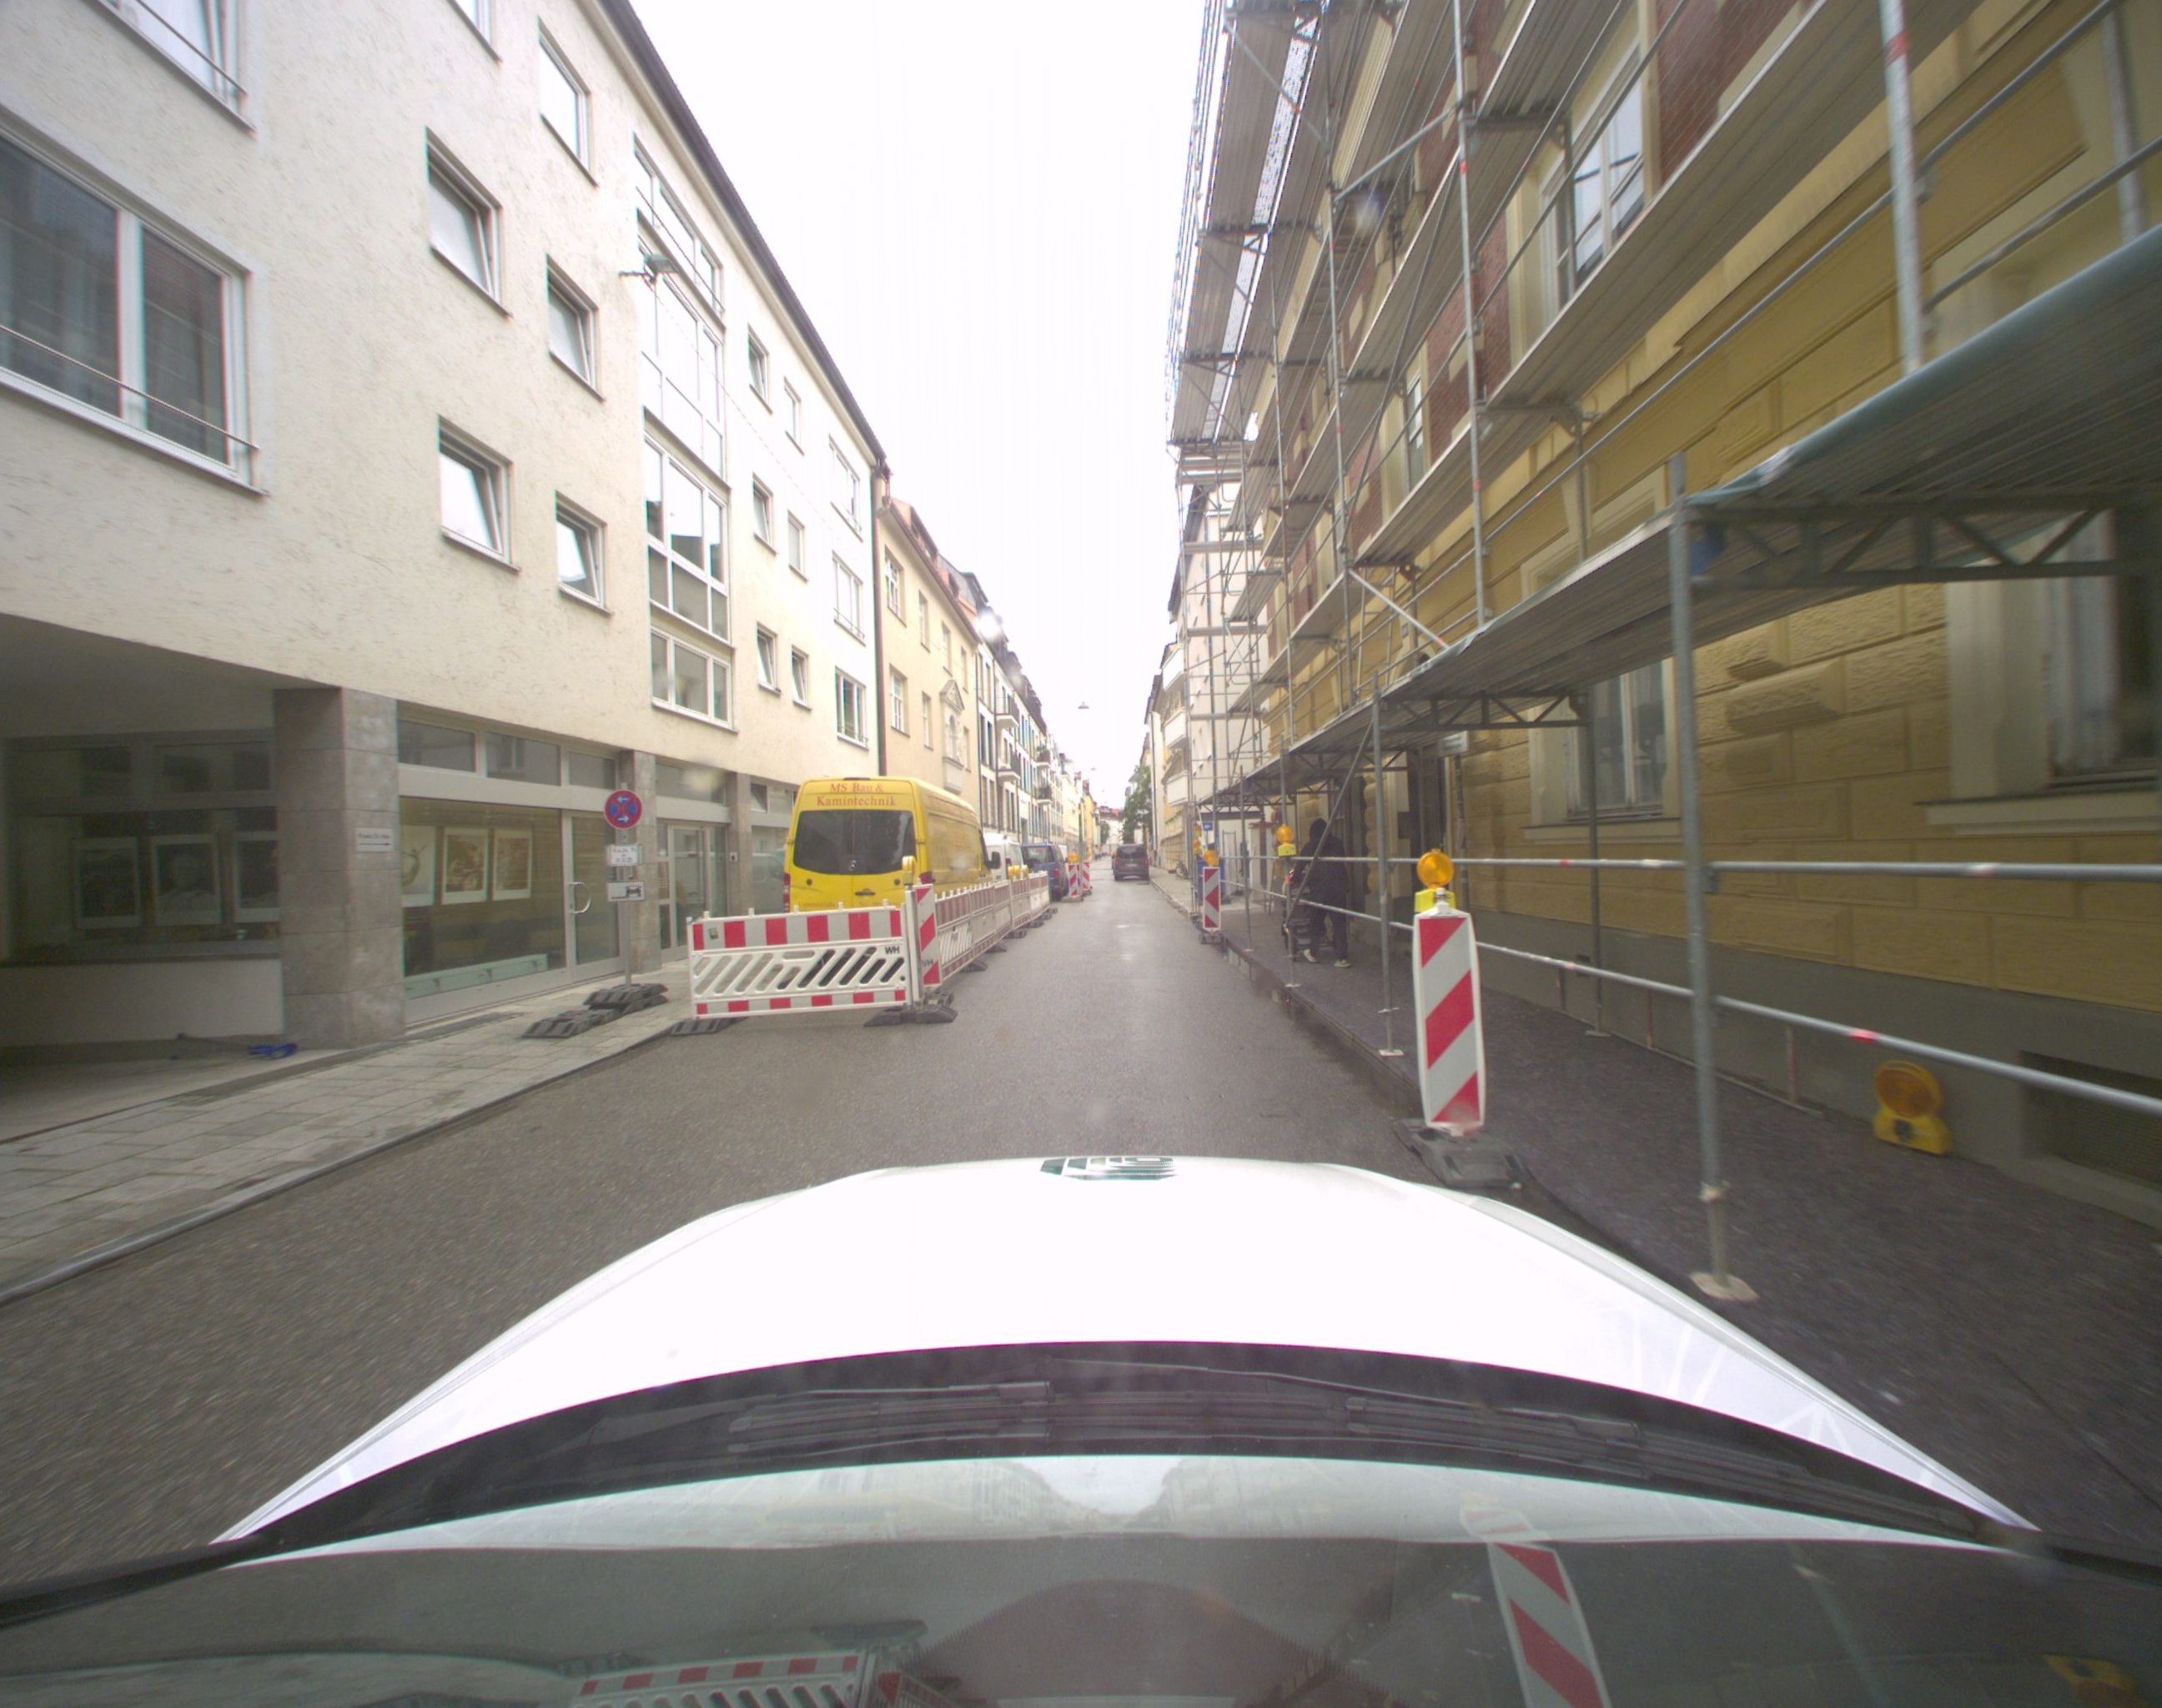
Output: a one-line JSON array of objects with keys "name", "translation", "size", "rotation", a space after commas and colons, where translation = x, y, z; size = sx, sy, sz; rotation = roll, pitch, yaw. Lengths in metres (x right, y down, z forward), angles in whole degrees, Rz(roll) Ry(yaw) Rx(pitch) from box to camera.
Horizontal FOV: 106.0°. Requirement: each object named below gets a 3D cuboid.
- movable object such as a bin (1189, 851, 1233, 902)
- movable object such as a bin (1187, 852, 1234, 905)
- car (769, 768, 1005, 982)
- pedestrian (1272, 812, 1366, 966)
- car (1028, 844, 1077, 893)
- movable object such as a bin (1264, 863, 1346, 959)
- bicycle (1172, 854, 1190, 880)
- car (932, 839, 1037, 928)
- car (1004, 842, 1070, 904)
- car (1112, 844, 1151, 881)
[{"name": "movable object such as a bin", "translation": [3.886, 0.650, 24.232], "size": [1.119, 1.345, 1.174], "rotation": [-6, 0, 10]}, {"name": "movable object such as a bin", "translation": [3.674, 0.673, 22.999], "size": [1.078, 1.346, 1.323], "rotation": [-5, 0, 15]}, {"name": "car", "translation": [-2.753, 0.264, 13.578], "size": [1.986, 2.578, 6.739], "rotation": [-3, 0, 2]}, {"name": "pedestrian", "translation": [2.931, 0.416, 10.118], "size": [0.727, 1.752, 0.988], "rotation": [-6, 0, 1]}, {"name": "car", "translation": [-1.187, 0.595, 35.185], "size": [1.899, 1.897, 5.087], "rotation": [-2, 0, -1]}, {"name": "movable object such as a bin", "translation": [2.977, 0.729, 10.898], "size": [0.727, 1.141, 0.988], "rotation": [-6, 0, 1]}, {"name": "bicycle", "translation": [4.720, 0.604, 38.497], "size": [0.635, 1.153, 1.917], "rotation": [-5, 0, 3]}, {"name": "car", "translation": [-2.330, 0.682, 20.956], "size": [1.910, 1.897, 4.792], "rotation": [-4, 0, 1]}, {"name": "car", "translation": [-1.456, 0.626, 29.133], "size": [1.720, 1.897, 5.512], "rotation": [-4, 0, 2]}, {"name": "car", "translation": [2.762, 0.435, 45.368], "size": [1.986, 1.932, 4.662], "rotation": [-1, 0, 2]}]
